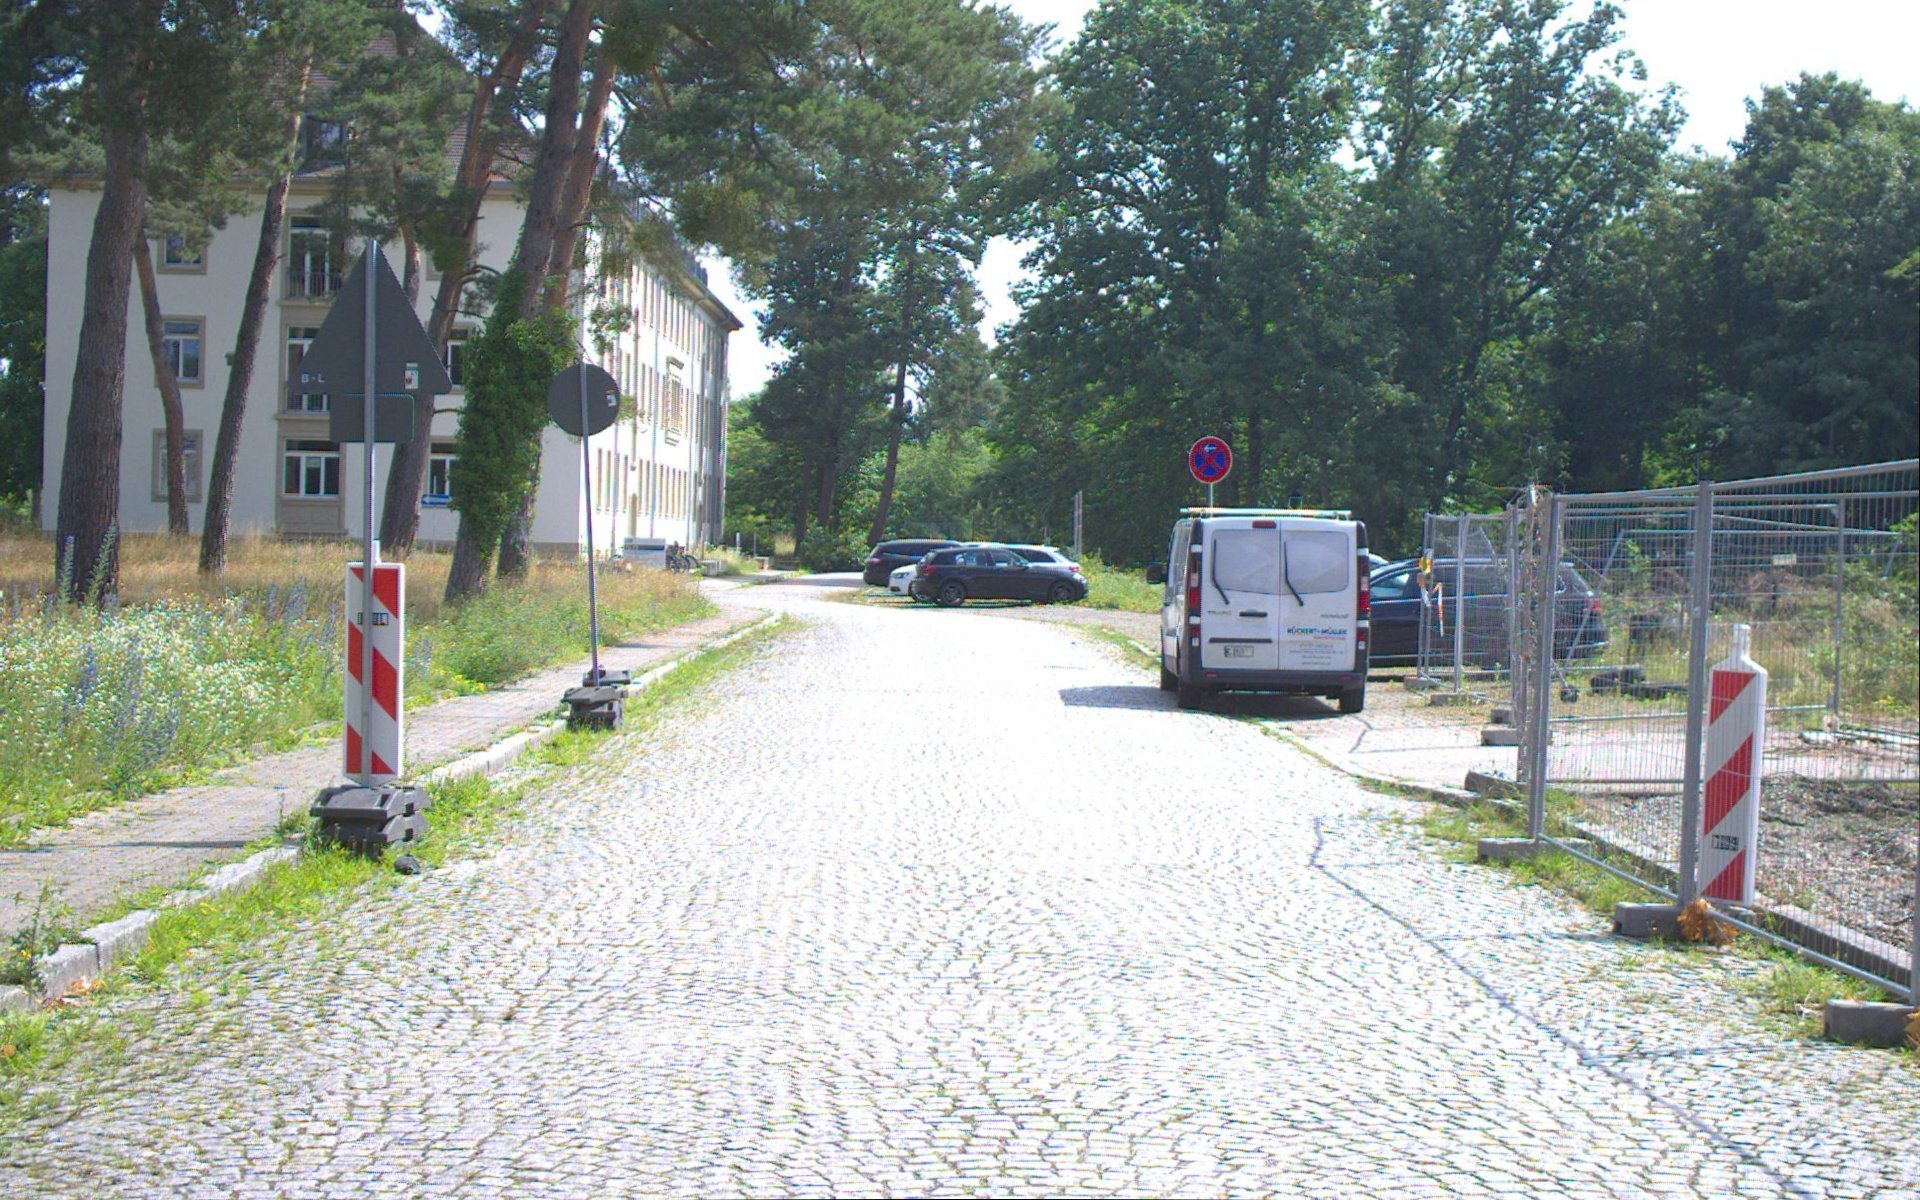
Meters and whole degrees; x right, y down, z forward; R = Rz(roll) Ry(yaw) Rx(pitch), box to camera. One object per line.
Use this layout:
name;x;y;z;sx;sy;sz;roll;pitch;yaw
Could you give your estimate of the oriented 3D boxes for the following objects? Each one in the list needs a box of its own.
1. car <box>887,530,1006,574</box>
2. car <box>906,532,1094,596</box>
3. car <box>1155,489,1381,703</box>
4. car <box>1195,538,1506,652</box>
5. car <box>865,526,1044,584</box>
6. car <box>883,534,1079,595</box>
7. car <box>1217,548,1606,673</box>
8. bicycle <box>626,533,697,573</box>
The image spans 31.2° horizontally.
car;-0.461;-1.712;122.141;4.187;1.538;1.820;0;0;2
car;0.959;-0.889;83.518;4.323;1.495;1.830;0;2;-8
car;3.149;-0.088;36.225;1.914;2.046;5.679;1;1;1
car;5.283;-0.085;46.817;3.986;1.501;1.747;0;1;-3
car;-0.176;-1.230;94.014;4.852;1.547;1.880;0;0;-2
car;0.509;-0.902;86.662;4.861;1.467;1.875;0;2;-2
car;5.493;0.106;42.122;4.453;1.470;1.746;0;1;-4
bicycle;-9.652;-1.506;111.170;2.222;1.256;0.623;1;1;2
